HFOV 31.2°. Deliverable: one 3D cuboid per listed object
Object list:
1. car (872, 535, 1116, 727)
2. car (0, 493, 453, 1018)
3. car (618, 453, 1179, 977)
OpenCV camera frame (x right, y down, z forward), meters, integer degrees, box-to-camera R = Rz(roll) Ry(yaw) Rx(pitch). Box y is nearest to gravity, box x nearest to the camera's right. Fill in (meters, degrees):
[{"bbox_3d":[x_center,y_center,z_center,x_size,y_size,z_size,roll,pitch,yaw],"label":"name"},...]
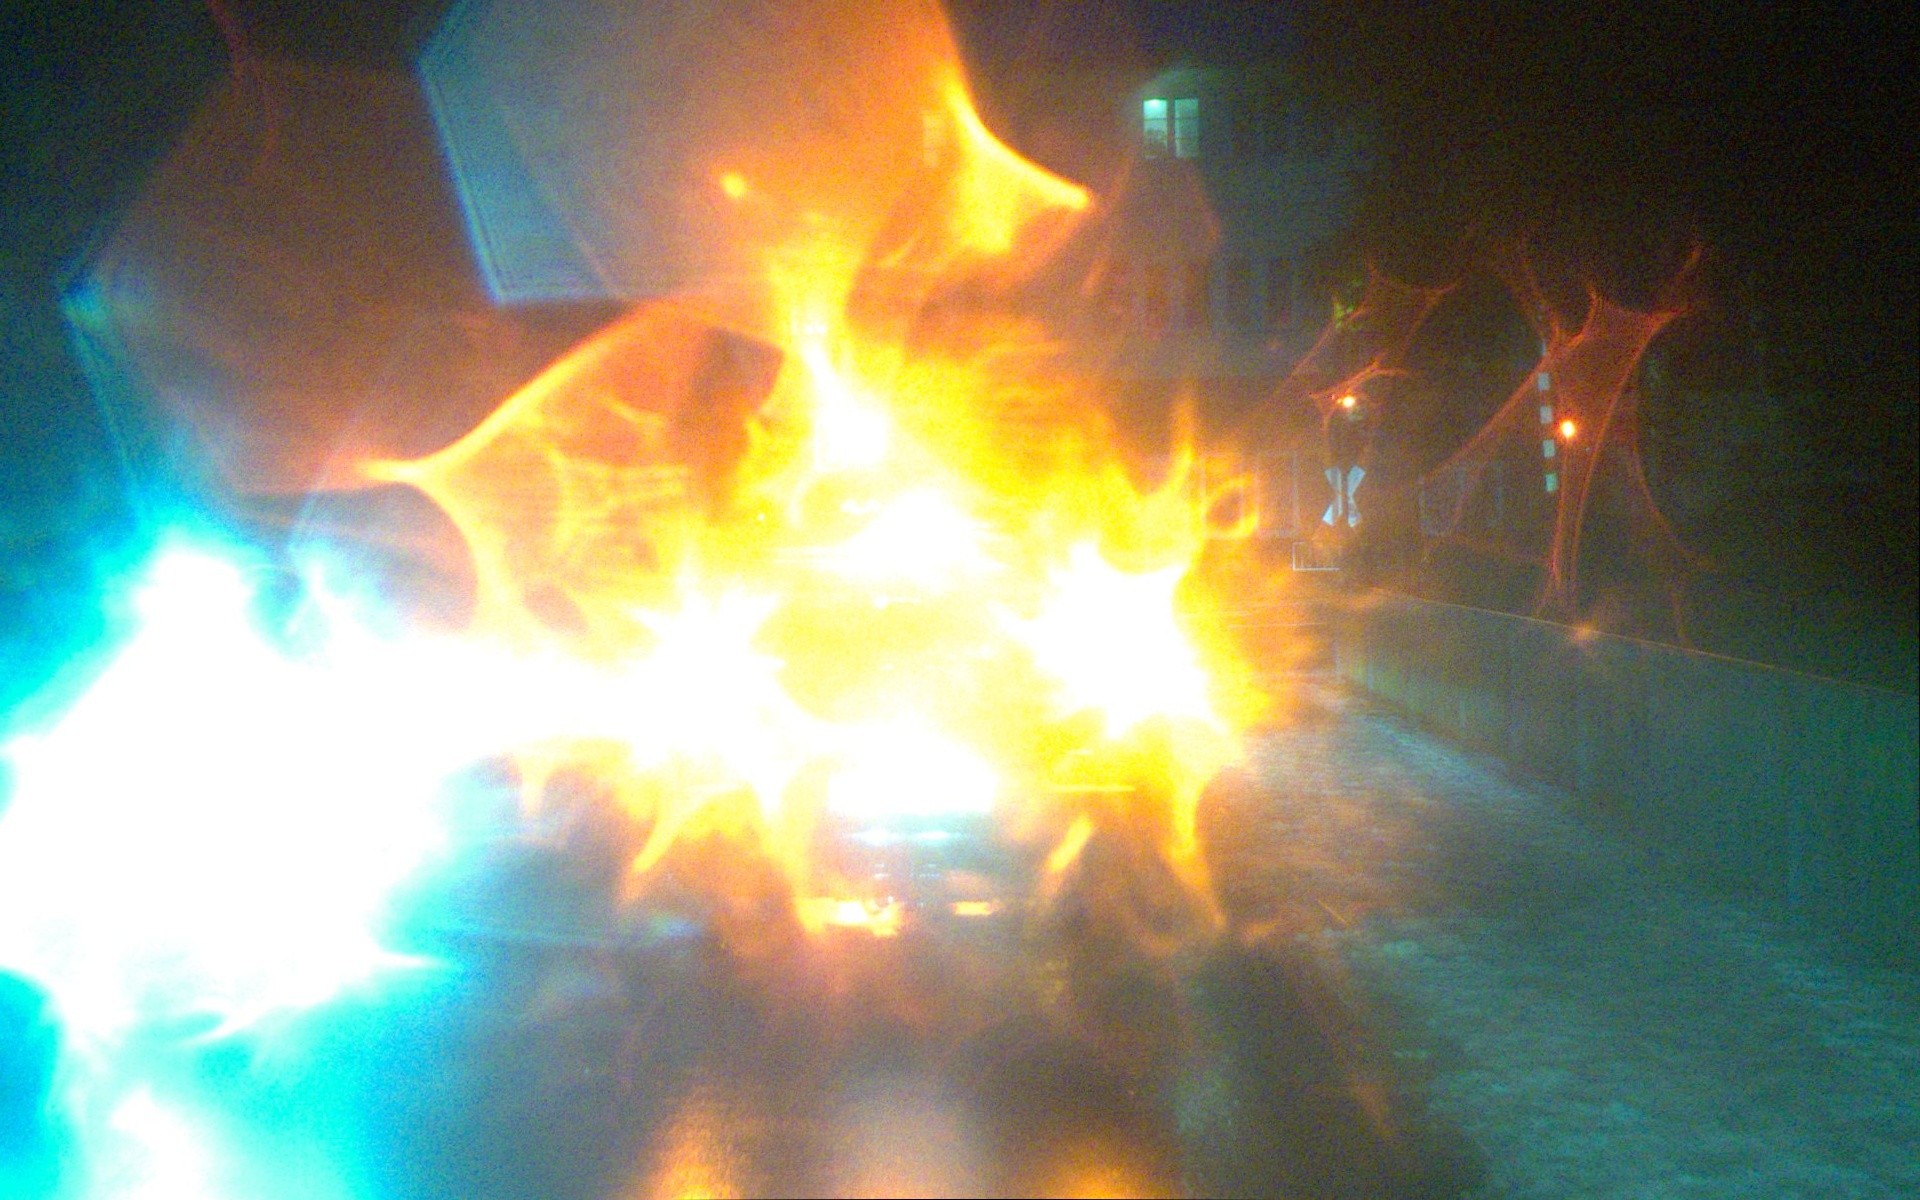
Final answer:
[{"bbox_3d":[0.341,0.196,27.729,1.744,1.410,4.000,-1,1,4],"label":"car"},{"bbox_3d":[-3.193,0.510,12.581,1.874,1.540,4.355,-4,0,1],"label":"car"},{"bbox_3d":[-0.153,0.321,13.045,1.791,1.675,3.904,-1,2,1],"label":"car"}]
